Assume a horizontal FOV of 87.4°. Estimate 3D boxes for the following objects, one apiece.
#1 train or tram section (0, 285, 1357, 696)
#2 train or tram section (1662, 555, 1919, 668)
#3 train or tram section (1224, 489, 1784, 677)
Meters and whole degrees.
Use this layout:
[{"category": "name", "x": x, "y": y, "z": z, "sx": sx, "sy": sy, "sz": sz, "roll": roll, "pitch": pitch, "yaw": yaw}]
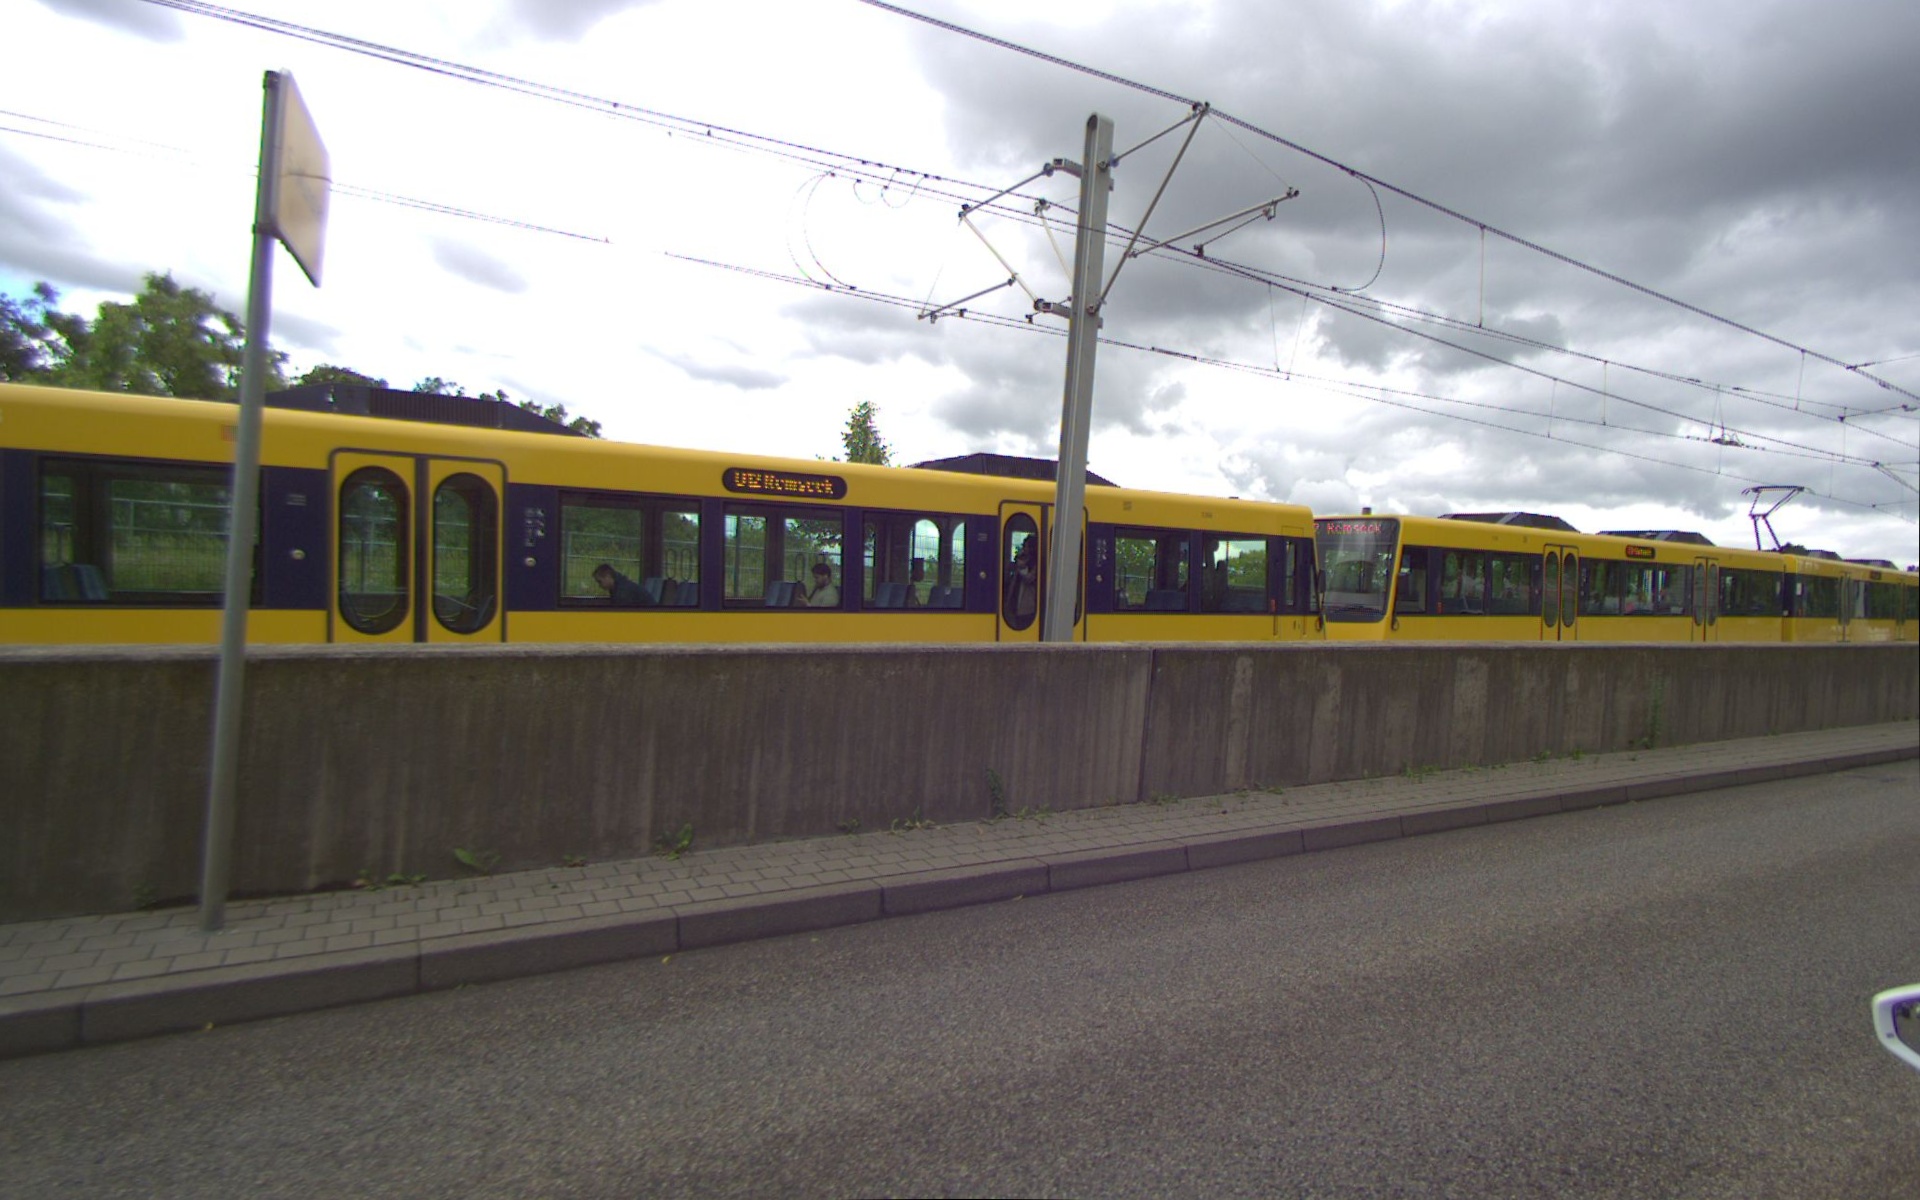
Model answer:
[{"category": "train or tram section", "x": -2.300, "y": -0.618, "z": 12.447, "sx": 18.891, "sy": 3.117, "sz": 2.788, "roll": 2, "pitch": -1, "yaw": -32}, {"category": "train or tram section", "x": 28.821, "y": 0.590, "z": 33.875, "sx": 18.705, "sy": 3.062, "sz": 2.776, "roll": 2, "pitch": -1, "yaw": -37}, {"category": "train or tram section", "x": 13.592, "y": 0.013, "z": 22.909, "sx": 19.110, "sy": 3.065, "sz": 2.783, "roll": 2, "pitch": -1, "yaw": -34}]
